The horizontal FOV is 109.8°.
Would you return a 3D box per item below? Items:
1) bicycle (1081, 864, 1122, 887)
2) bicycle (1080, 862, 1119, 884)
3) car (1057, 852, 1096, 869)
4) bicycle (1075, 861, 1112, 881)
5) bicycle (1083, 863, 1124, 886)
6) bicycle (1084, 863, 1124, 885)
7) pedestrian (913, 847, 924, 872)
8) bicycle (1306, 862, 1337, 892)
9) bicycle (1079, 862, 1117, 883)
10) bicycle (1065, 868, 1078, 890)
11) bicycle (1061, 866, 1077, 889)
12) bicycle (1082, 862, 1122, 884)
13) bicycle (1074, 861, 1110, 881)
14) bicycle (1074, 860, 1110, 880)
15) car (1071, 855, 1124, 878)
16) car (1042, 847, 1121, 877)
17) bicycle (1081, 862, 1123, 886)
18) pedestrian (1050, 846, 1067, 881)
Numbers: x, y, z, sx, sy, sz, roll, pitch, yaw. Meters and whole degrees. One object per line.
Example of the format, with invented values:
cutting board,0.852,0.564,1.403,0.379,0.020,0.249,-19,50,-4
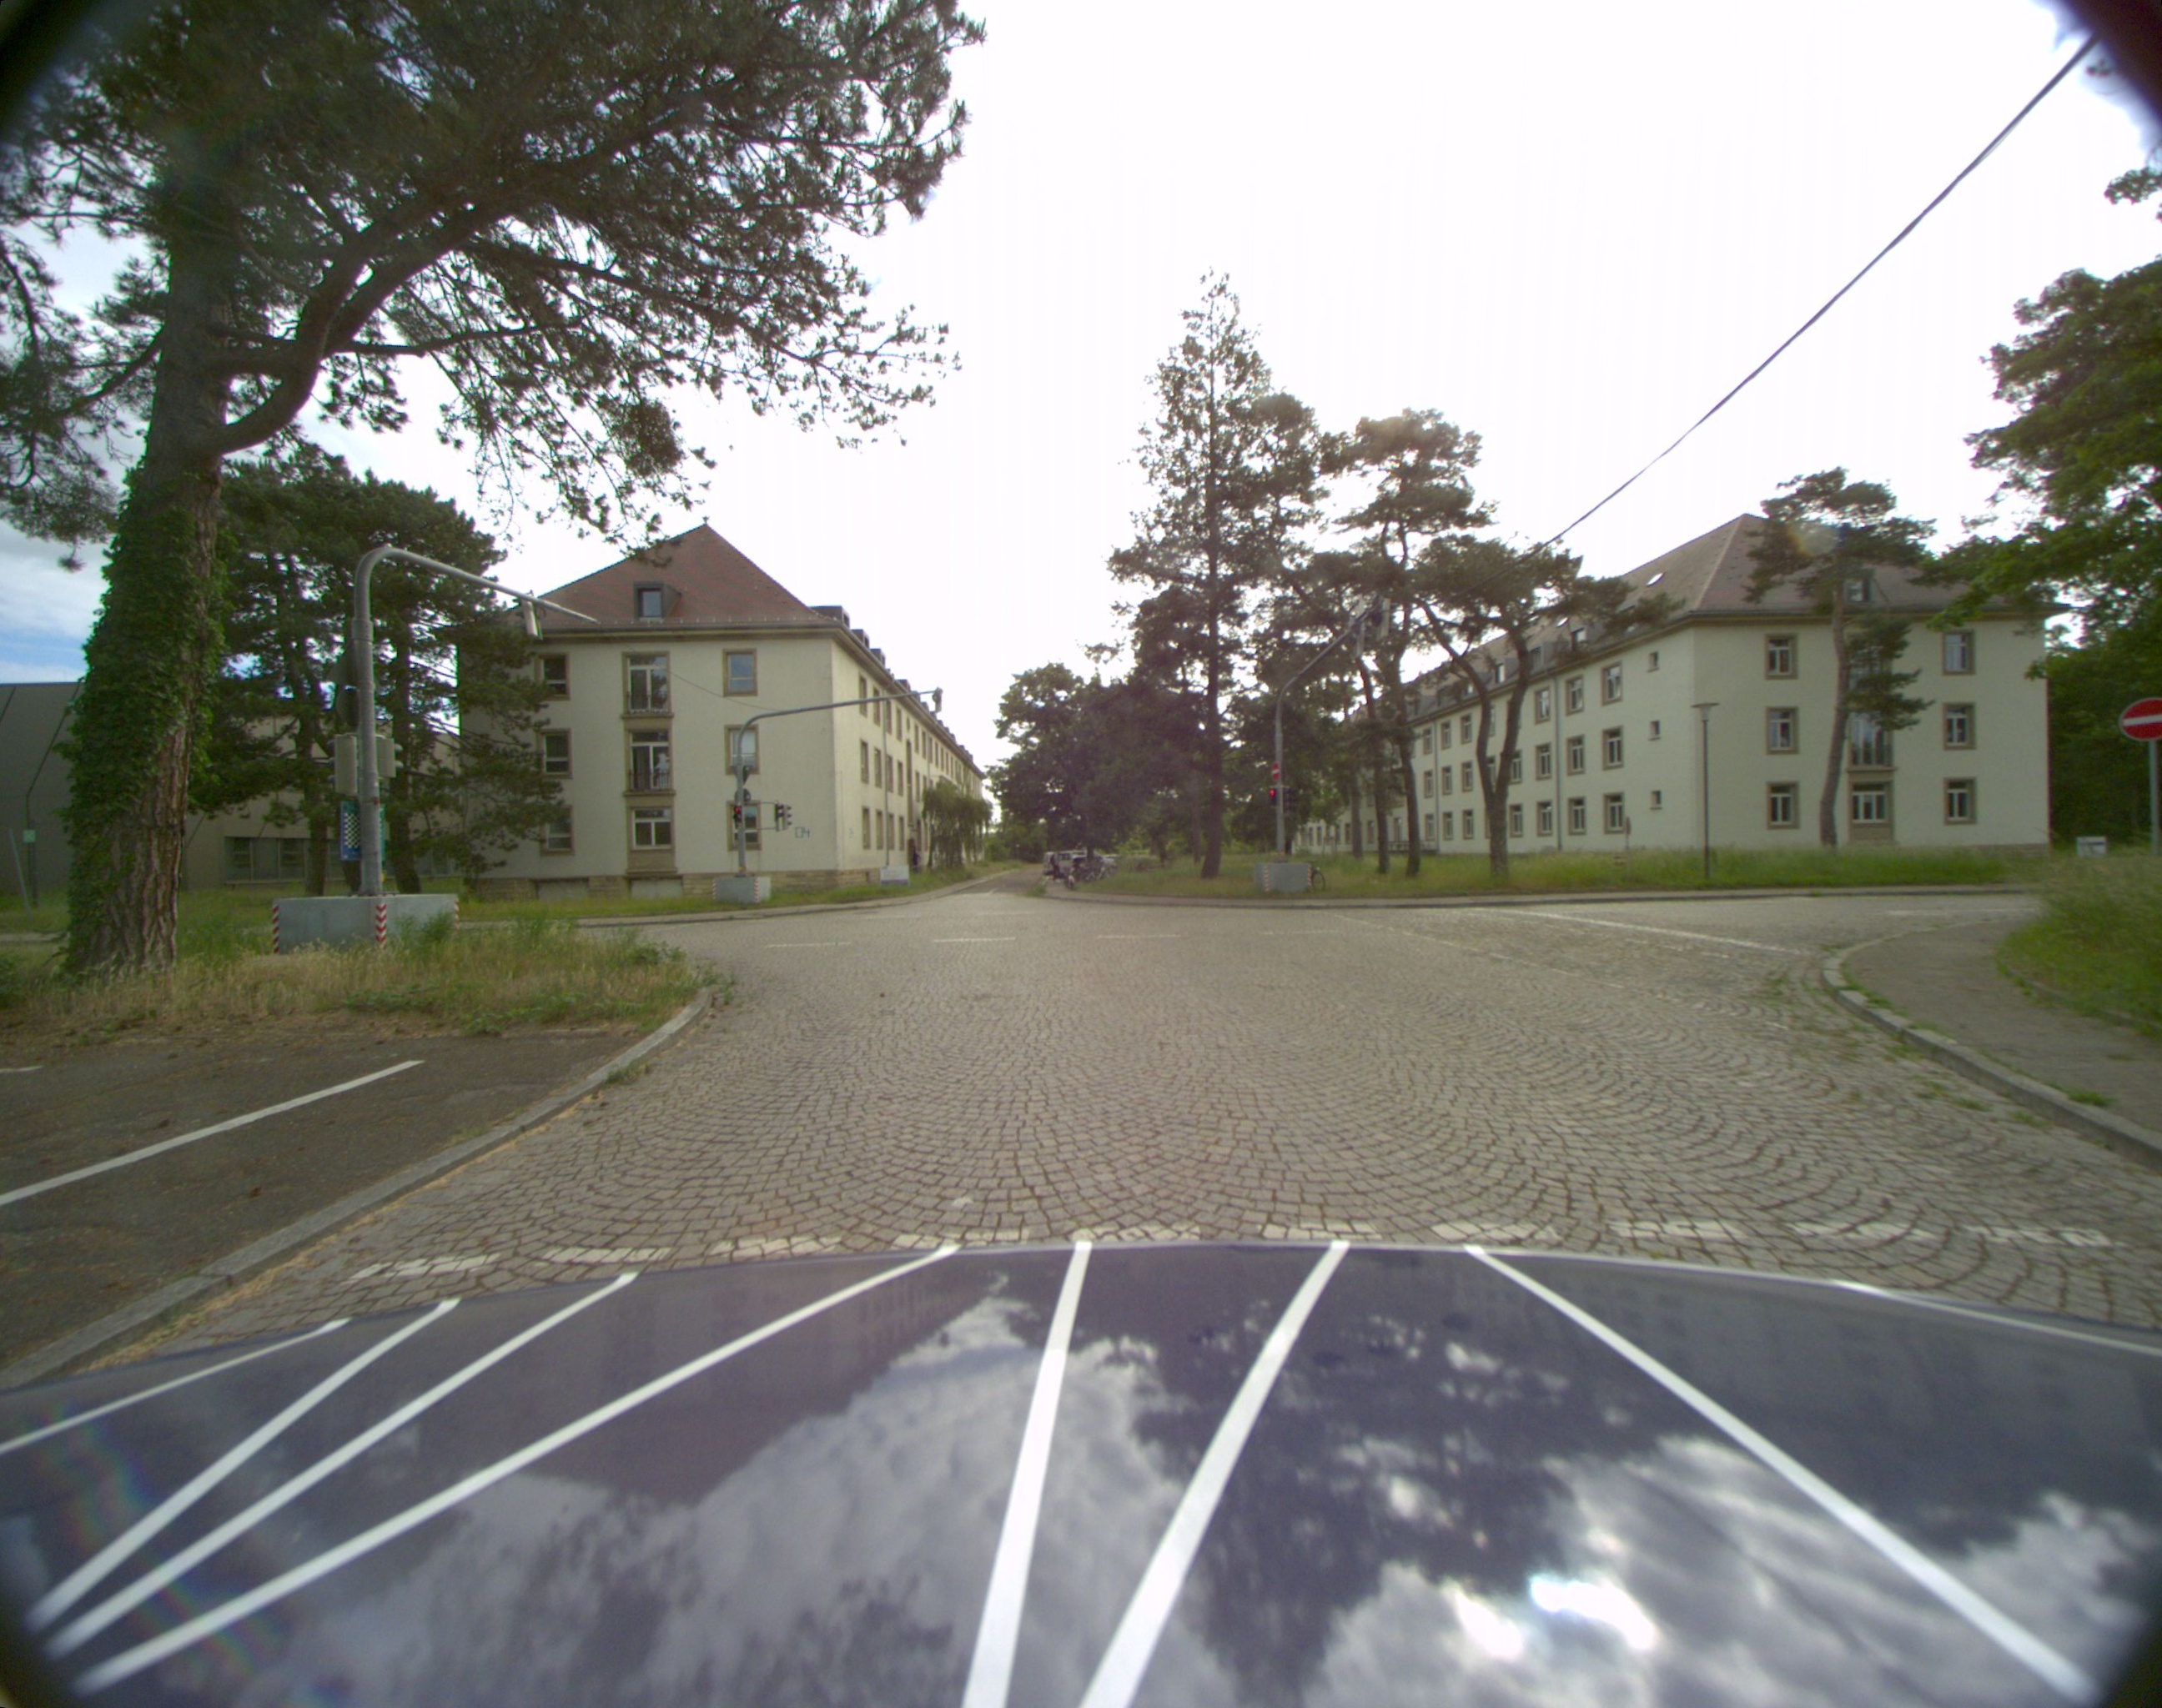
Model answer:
bicycle,0.982,1.016,36.320,1.899,1.059,0.616,-1,1,-3
bicycle,0.927,0.965,39.117,1.951,1.059,0.562,-1,1,-3
car,-0.433,0.585,68.259,3.440,1.440,1.913,-1,0,-3
bicycle,0.677,0.928,41.632,1.951,1.059,0.562,-1,1,-3
bicycle,1.090,0.996,37.407,1.951,1.059,0.562,-1,1,-3
bicycle,1.158,0.984,38.056,1.951,1.059,0.562,-1,1,-3
pedestrian,-10.971,0.389,51.441,0.568,1.691,0.532,-1,1,2
bicycle,7.561,0.727,23.896,0.294,0.911,1.052,-2,1,-23
bicycle,0.890,0.957,39.656,1.951,1.059,0.562,-1,1,-3
bicycle,-0.421,1.070,32.862,0.459,0.903,1.663,-1,0,2
bicycle,-0.552,1.058,34.681,0.459,0.968,1.663,-1,0,7
bicycle,1.060,0.977,38.539,1.951,1.059,0.562,-1,1,-3
bicycle,0.614,0.919,42.307,1.951,1.059,0.562,-1,1,-3
bicycle,0.605,0.908,42.907,1.951,1.059,0.562,-1,1,-3
car,1.098,0.828,51.119,3.440,1.440,1.913,-1,0,-3
car,0.027,0.584,54.725,5.367,1.987,2.289,-1,0,-10
bicycle,1.022,0.983,36.876,1.951,1.104,0.562,-1,1,-3
pedestrian,-1.249,0.519,42.134,0.792,1.926,0.589,-1,1,16
